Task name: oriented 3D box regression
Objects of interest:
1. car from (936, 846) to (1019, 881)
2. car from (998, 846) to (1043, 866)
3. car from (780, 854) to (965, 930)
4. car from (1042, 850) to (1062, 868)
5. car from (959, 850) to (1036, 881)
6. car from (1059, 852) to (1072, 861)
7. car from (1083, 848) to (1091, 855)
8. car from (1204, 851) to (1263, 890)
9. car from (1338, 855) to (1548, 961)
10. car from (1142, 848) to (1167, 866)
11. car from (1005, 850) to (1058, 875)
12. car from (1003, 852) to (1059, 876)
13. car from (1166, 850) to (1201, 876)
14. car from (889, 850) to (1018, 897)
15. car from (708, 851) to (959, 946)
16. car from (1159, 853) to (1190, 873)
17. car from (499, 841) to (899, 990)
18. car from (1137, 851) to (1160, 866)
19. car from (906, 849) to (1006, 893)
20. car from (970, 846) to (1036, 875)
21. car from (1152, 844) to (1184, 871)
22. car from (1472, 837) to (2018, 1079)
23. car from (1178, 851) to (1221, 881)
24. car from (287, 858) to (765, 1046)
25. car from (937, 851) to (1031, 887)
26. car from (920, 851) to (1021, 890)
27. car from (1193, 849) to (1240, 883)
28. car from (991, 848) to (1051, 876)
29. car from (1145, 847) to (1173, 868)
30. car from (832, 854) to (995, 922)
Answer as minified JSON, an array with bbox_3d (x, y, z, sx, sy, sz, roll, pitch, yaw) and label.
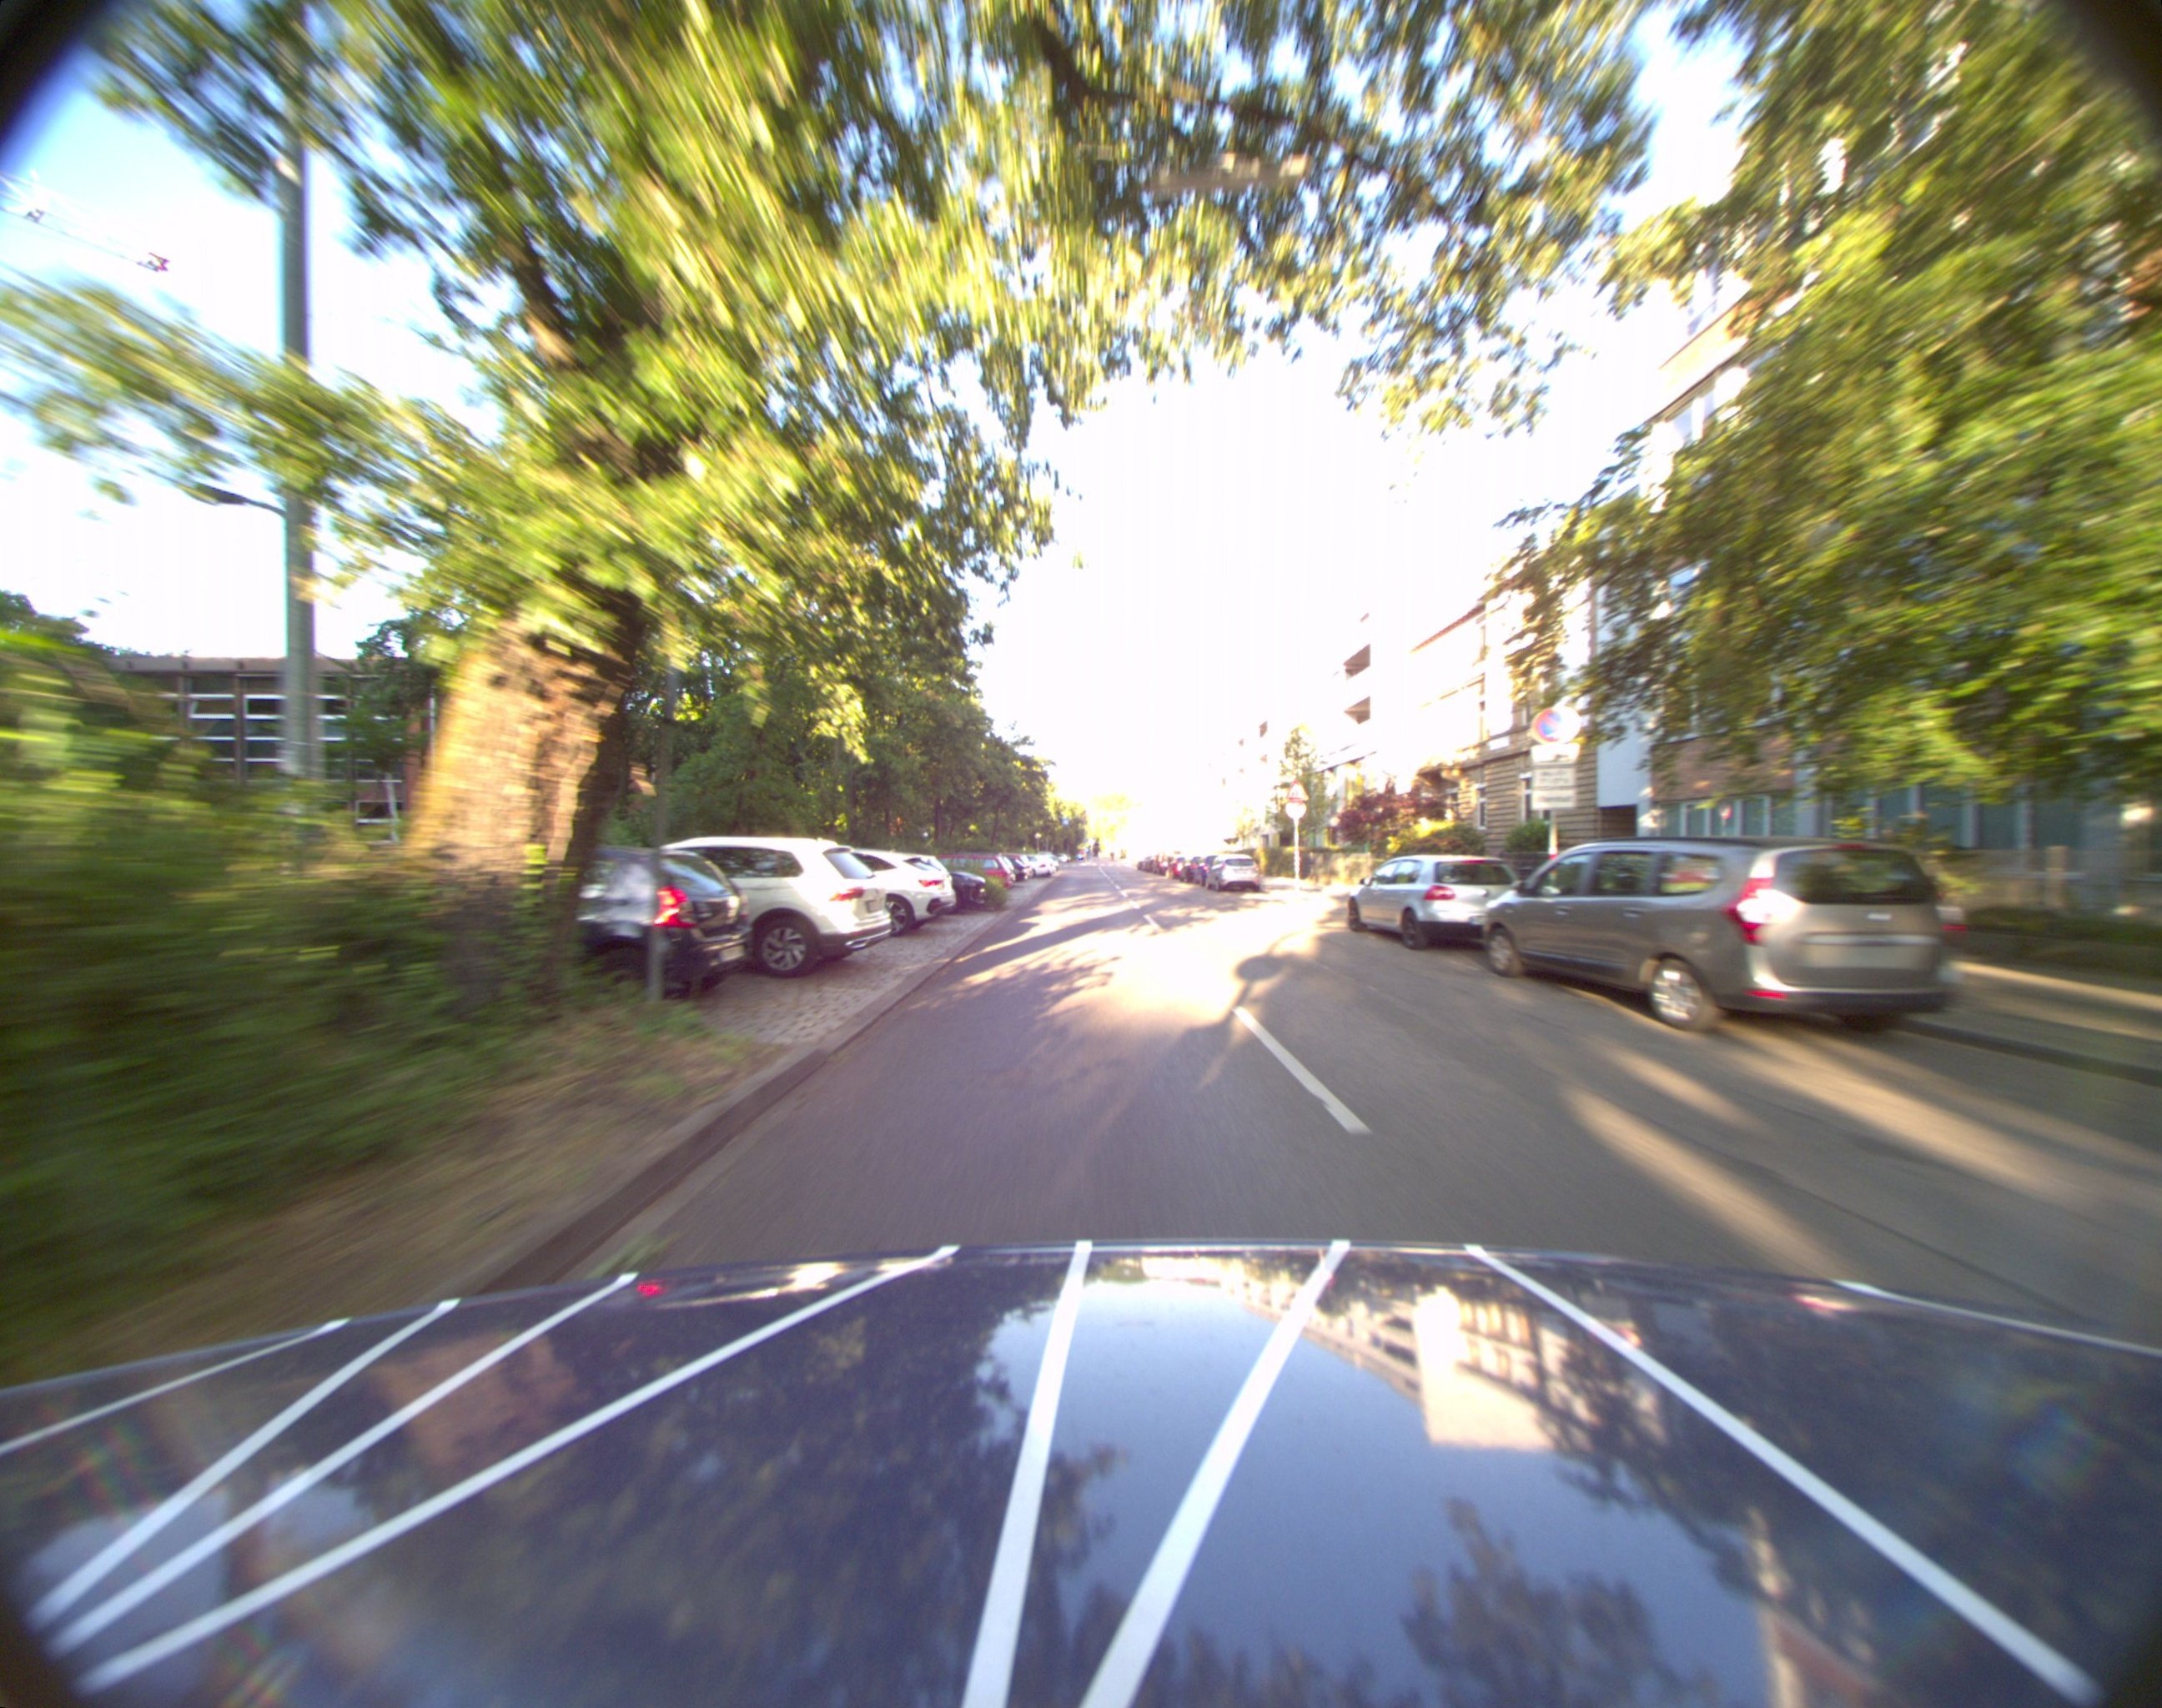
[{"bbox_3d":[-5.127,0.463,38.109,3.817,1.466,1.831,3,1,1],"label":"car"},{"bbox_3d":[-4.767,0.171,60.091,3.394,1.517,1.671,0,1,0],"label":"car"},{"bbox_3d":[-4.534,0.810,16.954,3.598,1.557,1.818,0,1,0],"label":"car"},{"bbox_3d":[-2.698,0.411,69.581,1.655,1.558,4.299,1,0,-5],"label":"car"},{"bbox_3d":[-4.440,0.610,40.780,3.817,1.466,1.756,3,0,1],"label":"car"},{"bbox_3d":[-2.572,0.464,126.887,1.752,1.478,4.177,0,0,4],"label":"car"},{"bbox_3d":[1.701,-0.873,225.947,2.228,2.002,4.890,0,0,1],"label":"car"},{"bbox_3d":[6.153,0.630,31.050,1.605,1.485,3.772,1,0,0],"label":"car"},{"bbox_3d":[5.893,0.786,12.965,1.675,1.485,4.061,1,0,1],"label":"car"},{"bbox_3d":[6.482,0.236,67.366,1.747,1.525,4.115,-1,0,-2],"label":"car"},{"bbox_3d":[-3.468,0.584,53.609,3.619,1.516,1.671,3,0,-2],"label":"car"},{"bbox_3d":[-3.349,0.659,51.293,3.676,1.436,1.734,3,0,-2],"label":"car"},{"bbox_3d":[6.236,0.525,46.520,1.602,1.447,3.861,0,1,-1],"label":"car"},{"bbox_3d":[-4.579,0.700,27.739,4.349,1.466,1.742,3,0,-1],"label":"car"},{"bbox_3d":[-4.508,0.788,14.296,4.132,1.658,1.723,0,1,0],"label":"car"},{"bbox_3d":[6.276,0.573,51.111,1.560,1.272,3.732,1,0,-1],"label":"car"},{"bbox_3d":[-4.697,0.725,9.743,4.179,1.700,1.867,-1,1,4],"label":"car"},{"bbox_3d":[6.341,0.393,71.914,1.746,1.349,4.396,0,1,0],"label":"car"},{"bbox_3d":[-4.910,0.673,30.301,3.722,1.547,1.741,2,1,-3],"label":"car"},{"bbox_3d":[-4.678,0.396,45.956,3.734,1.490,1.820,3,1,1],"label":"car"},{"bbox_3d":[6.382,0.259,56.343,1.812,1.878,4.237,1,0,-1],"label":"car"},{"bbox_3d":[5.858,0.742,7.605,1.683,1.698,4.340,1,0,1],"label":"car"},{"bbox_3d":[6.231,0.607,40.248,1.602,1.447,4.054,1,0,-1],"label":"car"},{"bbox_3d":[-4.930,0.812,7.150,3.201,1.484,1.684,-1,1,-3],"label":"car"},{"bbox_3d":[-4.442,0.680,35.319,4.131,1.466,1.831,2,1,-1],"label":"car"},{"bbox_3d":[-4.681,0.663,32.502,3.933,1.446,1.832,3,1,2],"label":"car"},{"bbox_3d":[6.269,0.532,35.477,1.602,1.499,3.787,1,0,2],"label":"car"},{"bbox_3d":[-3.793,0.505,48.574,3.676,1.543,1.734,3,0,-2],"label":"car"},{"bbox_3d":[6.260,0.242,61.645,1.746,1.666,4.415,-1,1,-1],"label":"car"},{"bbox_3d":[-4.158,0.827,19.302,3.754,1.585,1.696,0,1,-2],"label":"car"}]
